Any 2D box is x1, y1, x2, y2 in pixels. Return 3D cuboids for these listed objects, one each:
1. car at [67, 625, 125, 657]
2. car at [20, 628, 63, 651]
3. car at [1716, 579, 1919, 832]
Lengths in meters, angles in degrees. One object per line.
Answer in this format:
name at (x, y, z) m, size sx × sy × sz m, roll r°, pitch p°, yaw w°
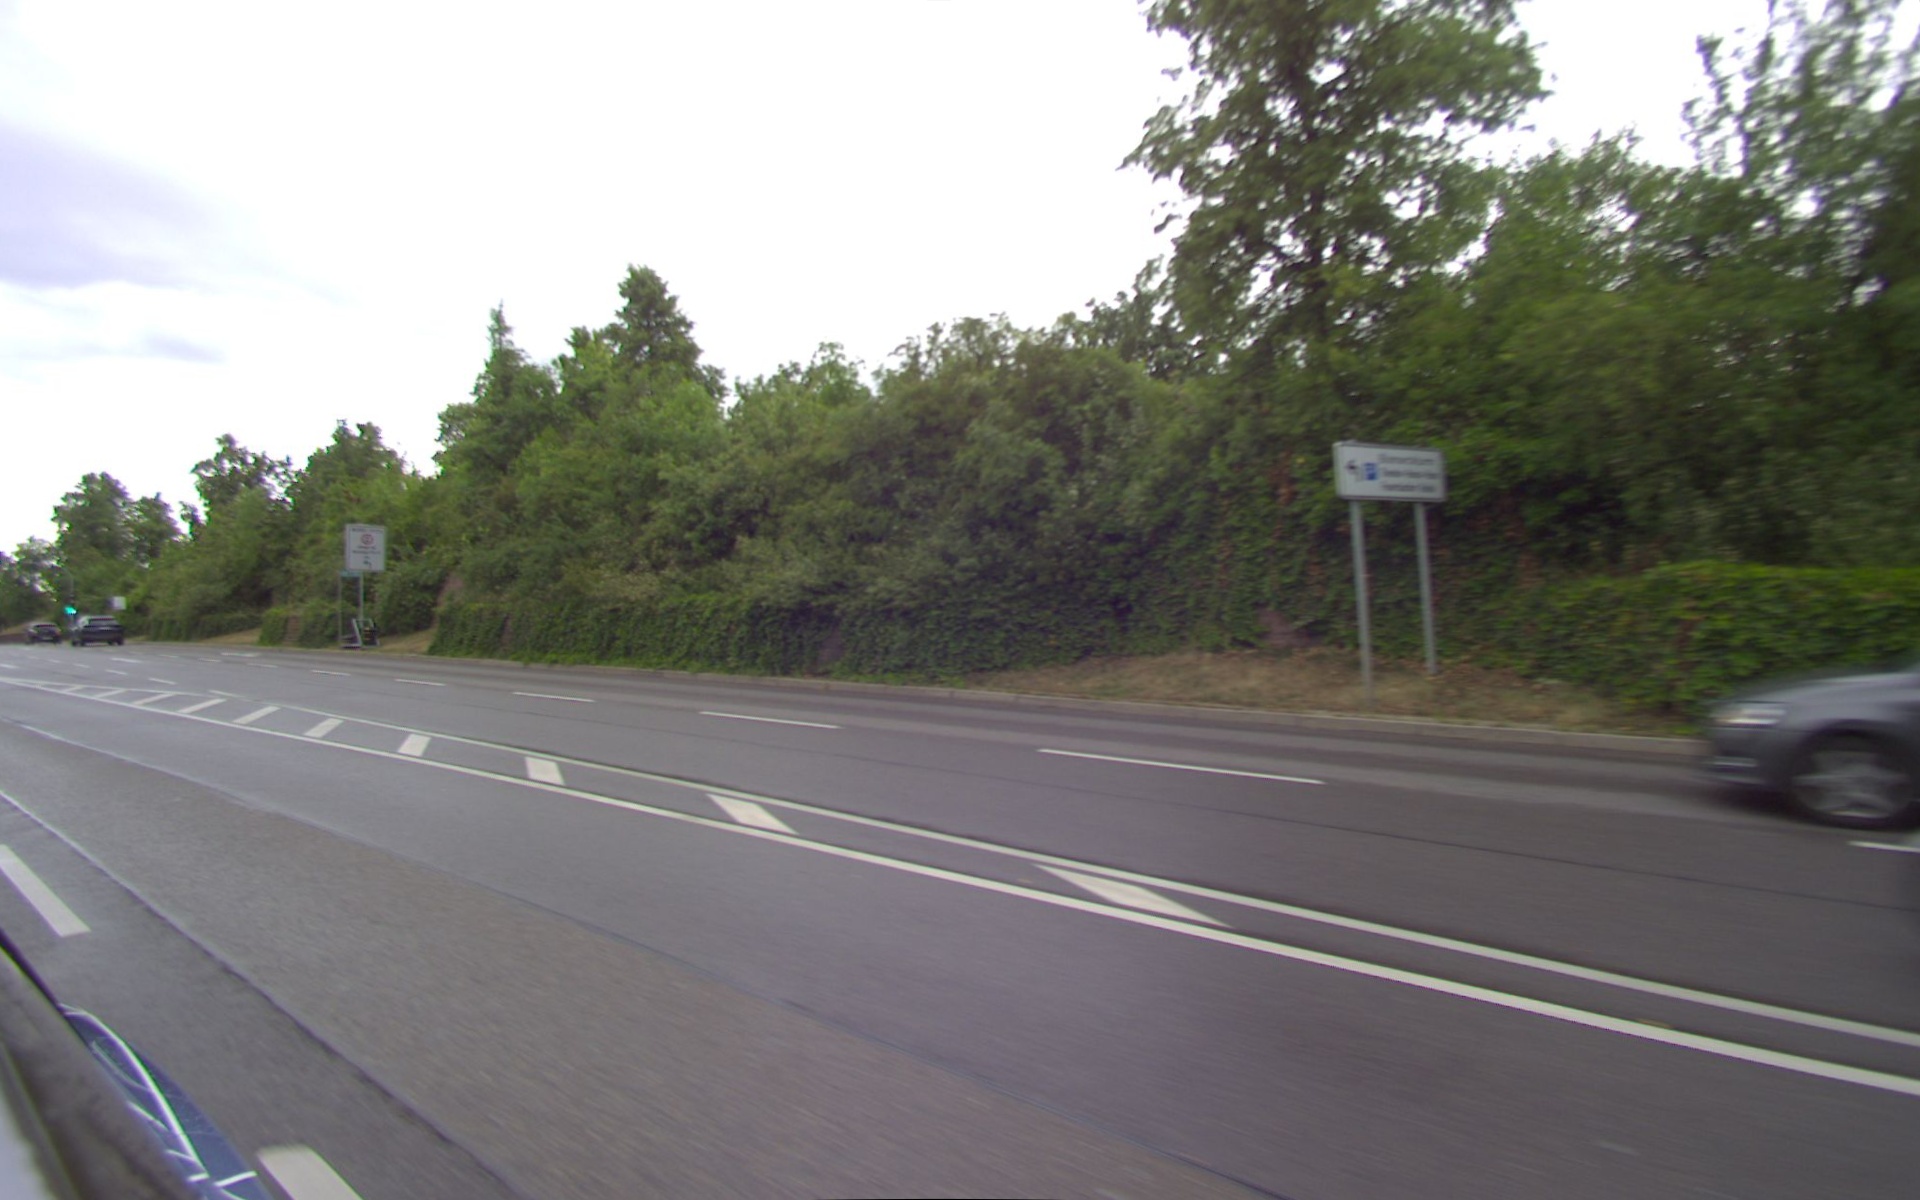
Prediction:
car at (-47.308, 2.247, 55.378) m, size 4.426 × 1.618 × 1.781 m, roll -2°, pitch -1°, yaw 41°
car at (-61.342, 2.640, 67.572) m, size 3.859 × 1.478 × 1.658 m, roll -2°, pitch -1°, yaw 41°
car at (6.678, 0.585, 5.725) m, size 3.696 × 1.448 × 1.532 m, roll -1°, pitch -1°, yaw 43°
